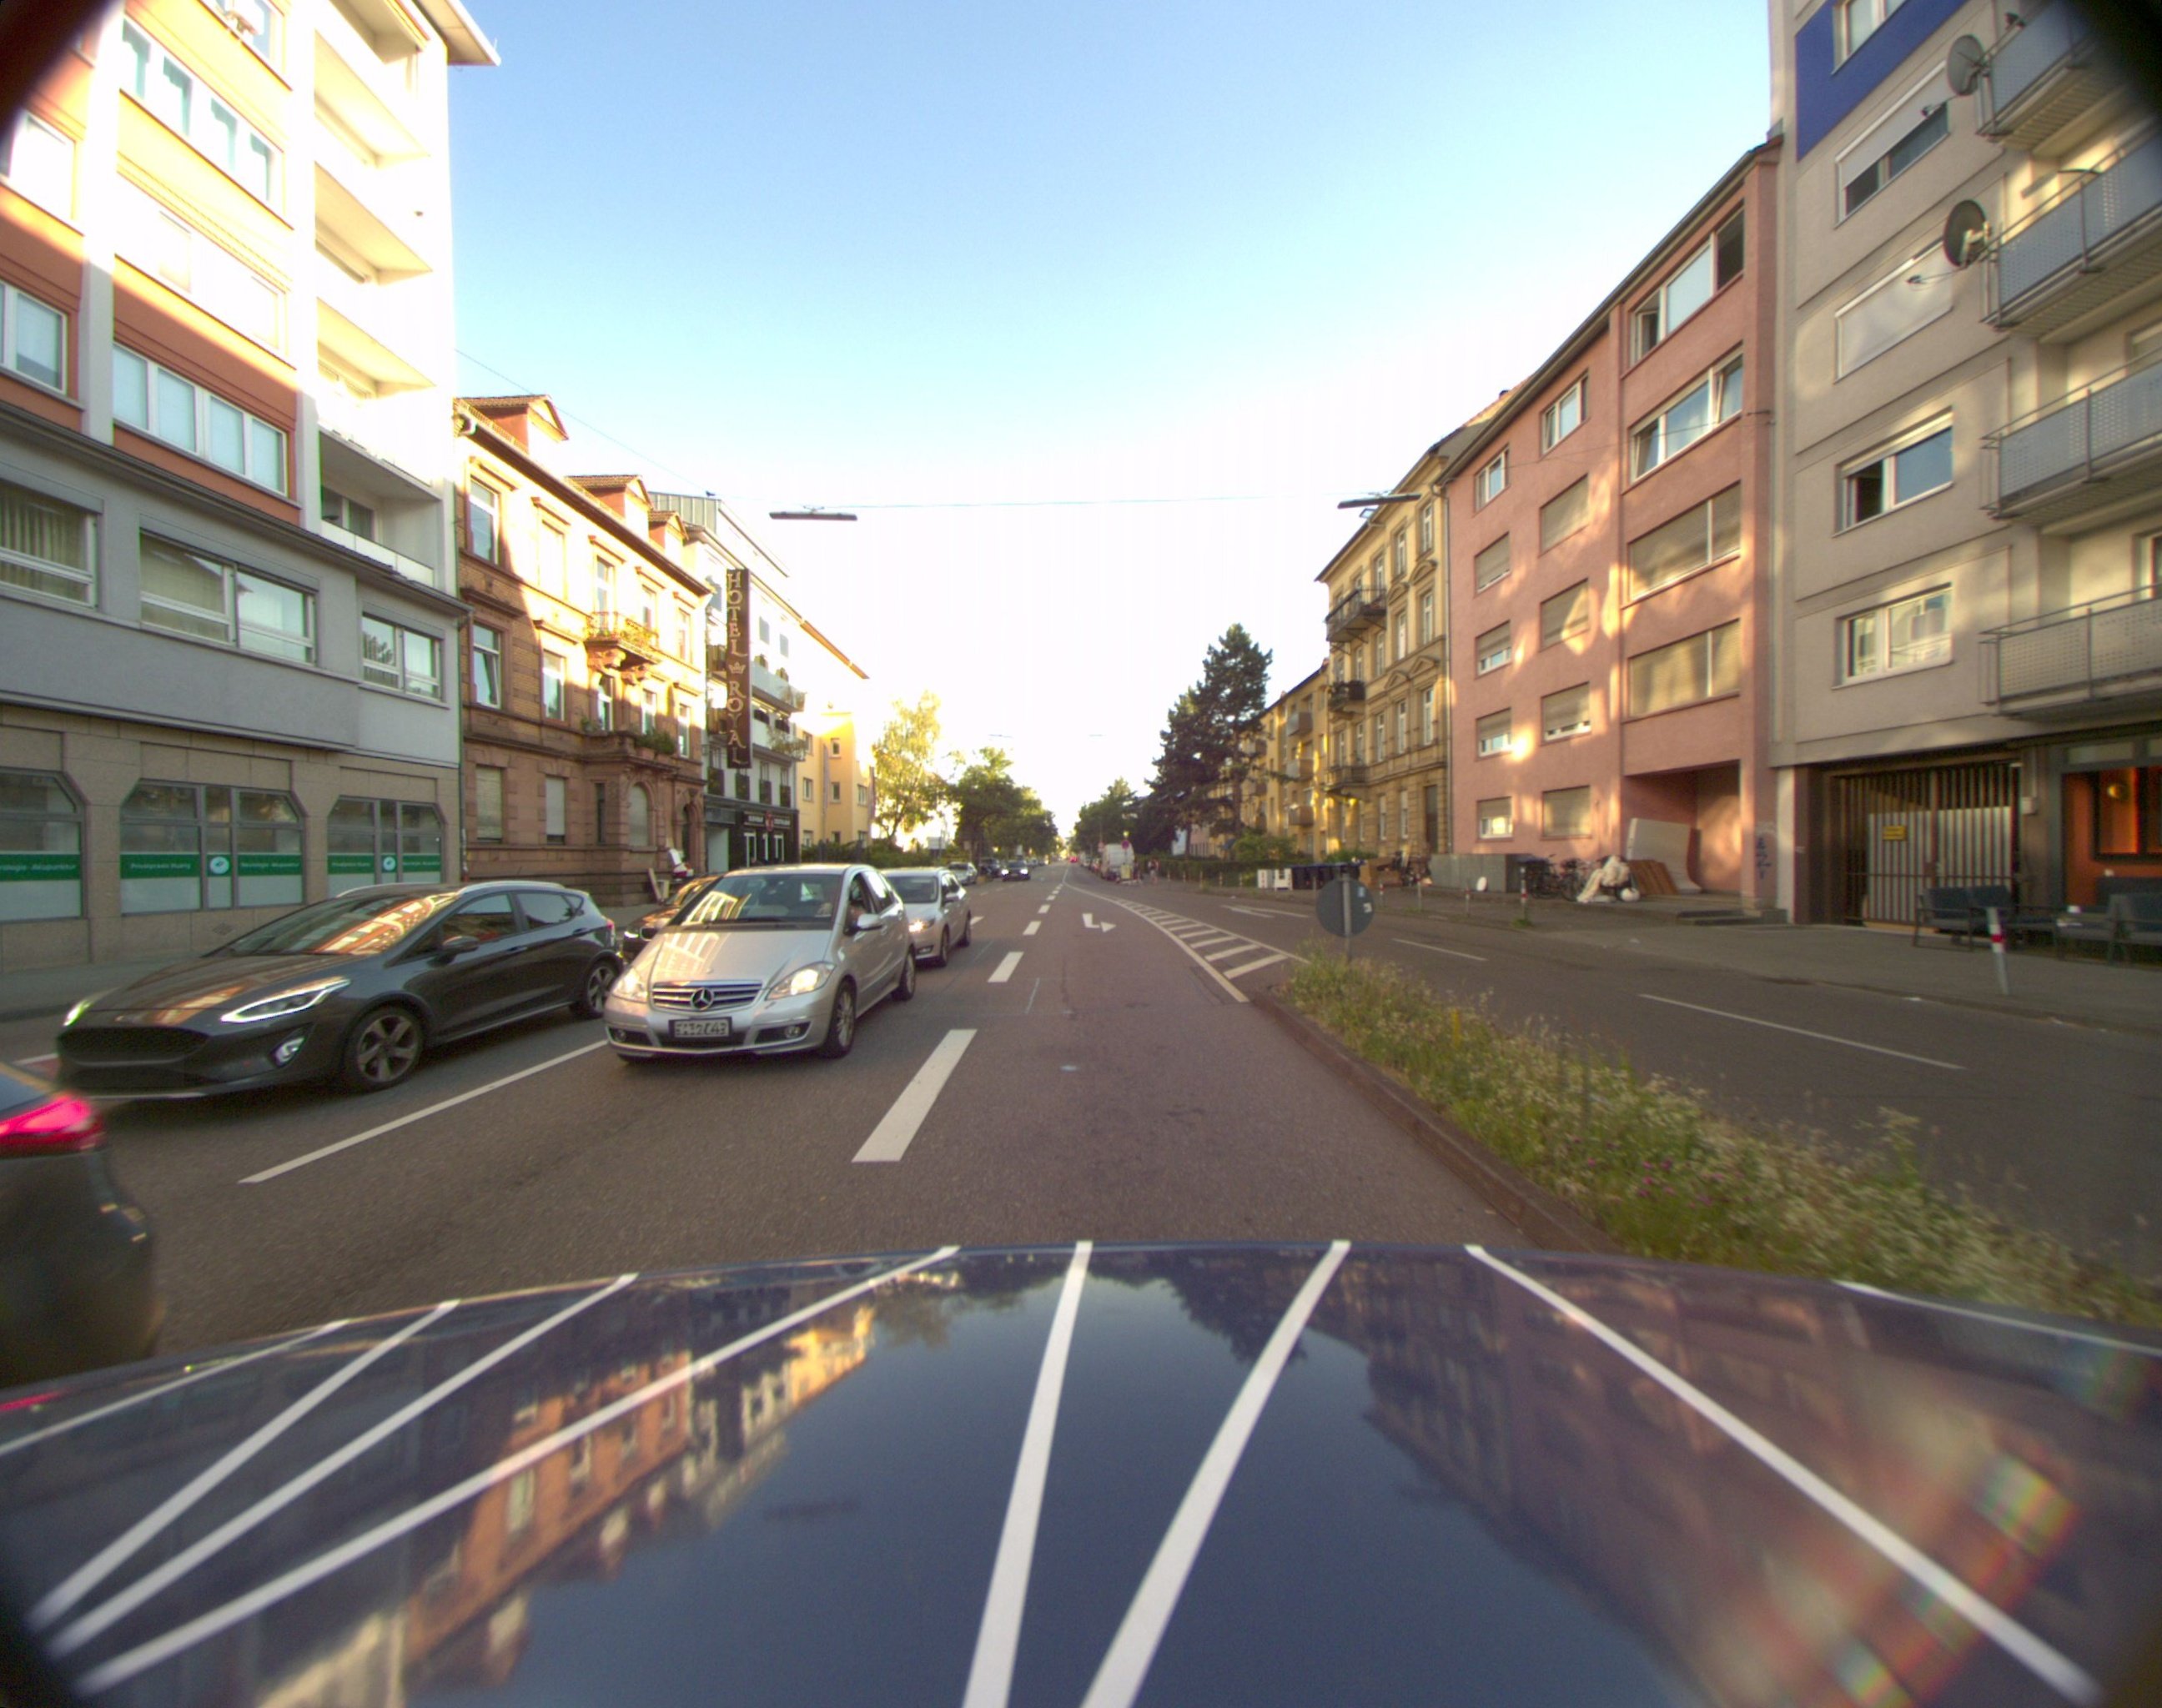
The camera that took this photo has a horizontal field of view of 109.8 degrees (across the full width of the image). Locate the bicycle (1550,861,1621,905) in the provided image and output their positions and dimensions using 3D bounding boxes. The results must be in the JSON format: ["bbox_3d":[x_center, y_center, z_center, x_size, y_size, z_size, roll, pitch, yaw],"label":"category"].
[{"bbox_3d":[12.988,0.725,19.558,1.676,1.035,0.549,-2,1,-15],"label":"bicycle"}]

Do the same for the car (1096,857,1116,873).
[{"bbox_3d":[2.341,1.014,72.226,1.721,1.443,3.923,-2,0,-1],"label":"car"}]

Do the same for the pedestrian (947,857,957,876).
[{"bbox_3d":[-10.760,1.053,63.199,0.748,1.606,0.579,0,0,-2],"label":"pedestrian"}]

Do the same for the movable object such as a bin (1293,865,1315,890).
[{"bbox_3d":[9.889,1.033,33.704,0.643,1.062,0.626,-3,2,-31],"label":"movable object such as a bin"}]

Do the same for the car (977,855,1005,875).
[{"bbox_3d":[-7.699,0.942,65.588,1.953,1.645,4.795,-1,0,-2],"label":"car"}]

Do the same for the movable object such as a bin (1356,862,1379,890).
[{"bbox_3d":[11.678,0.876,30.945,0.643,1.104,0.582,-3,2,-31],"label":"movable object such as a bin"}]

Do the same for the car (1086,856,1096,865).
[{"bbox_3d":[1.718,1.054,129.176,1.684,1.434,3.881,-2,0,1],"label":"car"}]

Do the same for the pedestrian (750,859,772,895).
[{"bbox_3d":[-14.487,1.030,34.378,0.709,1.633,0.693,-1,0,-1],"label":"pedestrian"}]

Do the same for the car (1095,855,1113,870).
[{"bbox_3d":[2.520,0.941,83.418,1.781,1.579,4.185,-1,0,0],"label":"car"}]

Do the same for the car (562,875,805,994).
[{"bbox_3d":[-6.021,1.130,12.156,1.712,1.448,4.158,0,0,0],"label":"car"}]

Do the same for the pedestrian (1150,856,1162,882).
[{"bbox_3d":[4.743,0.928,48.257,0.606,1.642,0.696,-1,1,-7],"label":"pedestrian"}]

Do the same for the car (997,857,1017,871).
[{"bbox_3d":[-7.883,1.028,81.212,1.775,1.440,4.484,0,0,-1],"label":"car"}]

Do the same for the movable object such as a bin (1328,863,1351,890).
[{"bbox_3d":[10.869,0.942,31.928,0.643,1.104,0.582,-3,2,-31],"label":"movable object such as a bin"}]

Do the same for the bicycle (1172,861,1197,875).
[{"bbox_3d":[7.703,1.037,56.784,1.763,0.976,0.590,-2,0,0],"label":"bicycle"}]

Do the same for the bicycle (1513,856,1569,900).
[{"bbox_3d":[12.834,0.652,21.189,1.677,1.153,0.495,-2,1,-26],"label":"bicycle"}]

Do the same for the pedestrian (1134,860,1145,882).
[{"bbox_3d":[3.785,1.113,49.340,0.560,1.370,0.480,-2,1,-6],"label":"pedestrian"}]

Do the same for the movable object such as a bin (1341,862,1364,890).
[{"bbox_3d":[11.250,0.898,31.455,0.643,1.104,0.582,-3,2,-31],"label":"movable object such as a bin"}]

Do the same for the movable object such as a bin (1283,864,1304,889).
[{"bbox_3d":[9.594,1.016,34.302,0.643,1.077,0.582,-3,2,-31],"label":"movable object such as a bin"}]

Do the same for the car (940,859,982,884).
[{"bbox_3d":[-7.772,1.114,49.561,1.860,1.503,4.834,1,0,1],"label":"car"}]

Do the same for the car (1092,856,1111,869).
[{"bbox_3d":[2.378,0.964,88.412,1.999,1.439,4.457,0,0,-1],"label":"car"}]

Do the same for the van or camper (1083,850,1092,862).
[{"bbox_3d":[1.348,0.467,167.086,1.918,2.528,5.334,-1,0,-1],"label":"van or camper"}]

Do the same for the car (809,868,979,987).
[{"bbox_3d":[-2.828,1.032,12.469,1.712,1.501,4.308,-2,0,0],"label":"car"}]

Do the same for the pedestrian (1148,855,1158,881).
[{"bbox_3d":[4.652,0.899,48.995,0.481,1.642,0.725,-1,0,-7],"label":"pedestrian"}]

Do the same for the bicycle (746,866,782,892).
[{"bbox_3d":[-14.445,1.136,34.642,1.427,1.104,0.488,2,0,-18],"label":"bicycle"}]

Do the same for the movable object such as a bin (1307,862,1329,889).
[{"bbox_3d":[10.323,0.938,33.119,0.643,1.104,0.582,-3,2,-31],"label":"movable object such as a bin"}]

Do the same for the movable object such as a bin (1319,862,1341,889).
[{"bbox_3d":[10.652,0.920,32.559,0.643,1.104,0.582,-3,2,-31],"label":"movable object such as a bin"}]

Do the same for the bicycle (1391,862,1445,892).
[{"bbox_3d":[12.761,0.873,28.803,1.653,0.961,0.662,-6,1,-2],"label":"bicycle"}]

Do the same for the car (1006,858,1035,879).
[{"bbox_3d":[-4.492,1.049,56.996,1.999,1.525,3.999,-1,0,-2],"label":"car"}]

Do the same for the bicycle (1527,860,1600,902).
[{"bbox_3d":[12.941,0.722,20.386,1.675,1.035,0.549,-2,1,-7],"label":"bicycle"}]

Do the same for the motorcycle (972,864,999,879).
[{"bbox_3d":[-7.189,1.331,57.250,1.932,1.065,0.819,-1,0,-12],"label":"motorcycle"}]

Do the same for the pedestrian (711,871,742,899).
[{"bbox_3d":[-13.779,1.205,29.544,0.692,1.037,0.945,-1,0,3],"label":"pedestrian"}]

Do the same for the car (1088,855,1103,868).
[{"bbox_3d":[1.955,0.986,100.809,1.842,1.508,4.315,-2,0,0],"label":"car"}]

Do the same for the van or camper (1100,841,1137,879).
[{"bbox_3d":[2.793,0.420,58.218,2.041,2.648,6.013,-3,0,-3],"label":"van or camper"}]

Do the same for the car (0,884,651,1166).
[{"bbox_3d":[-5.808,1.108,6.655,1.655,1.476,4.239,-2,0,0],"label":"car"}]

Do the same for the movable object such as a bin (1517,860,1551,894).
[{"bbox_3d":[13.609,0.684,22.845,0.676,1.026,0.589,-1,0,-1],"label":"movable object such as a bin"}]

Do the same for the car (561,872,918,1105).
[{"bbox_3d":[-2.815,0.997,7.218,1.808,1.559,3.618,-1,0,-1],"label":"car"}]

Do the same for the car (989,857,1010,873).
[{"bbox_3d":[-7.963,1.068,74.407,1.721,1.463,4.430,0,0,-3],"label":"car"}]

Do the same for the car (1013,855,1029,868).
[{"bbox_3d":[-8.022,0.936,102.386,1.921,1.672,4.706,1,0,-2],"label":"car"}]
